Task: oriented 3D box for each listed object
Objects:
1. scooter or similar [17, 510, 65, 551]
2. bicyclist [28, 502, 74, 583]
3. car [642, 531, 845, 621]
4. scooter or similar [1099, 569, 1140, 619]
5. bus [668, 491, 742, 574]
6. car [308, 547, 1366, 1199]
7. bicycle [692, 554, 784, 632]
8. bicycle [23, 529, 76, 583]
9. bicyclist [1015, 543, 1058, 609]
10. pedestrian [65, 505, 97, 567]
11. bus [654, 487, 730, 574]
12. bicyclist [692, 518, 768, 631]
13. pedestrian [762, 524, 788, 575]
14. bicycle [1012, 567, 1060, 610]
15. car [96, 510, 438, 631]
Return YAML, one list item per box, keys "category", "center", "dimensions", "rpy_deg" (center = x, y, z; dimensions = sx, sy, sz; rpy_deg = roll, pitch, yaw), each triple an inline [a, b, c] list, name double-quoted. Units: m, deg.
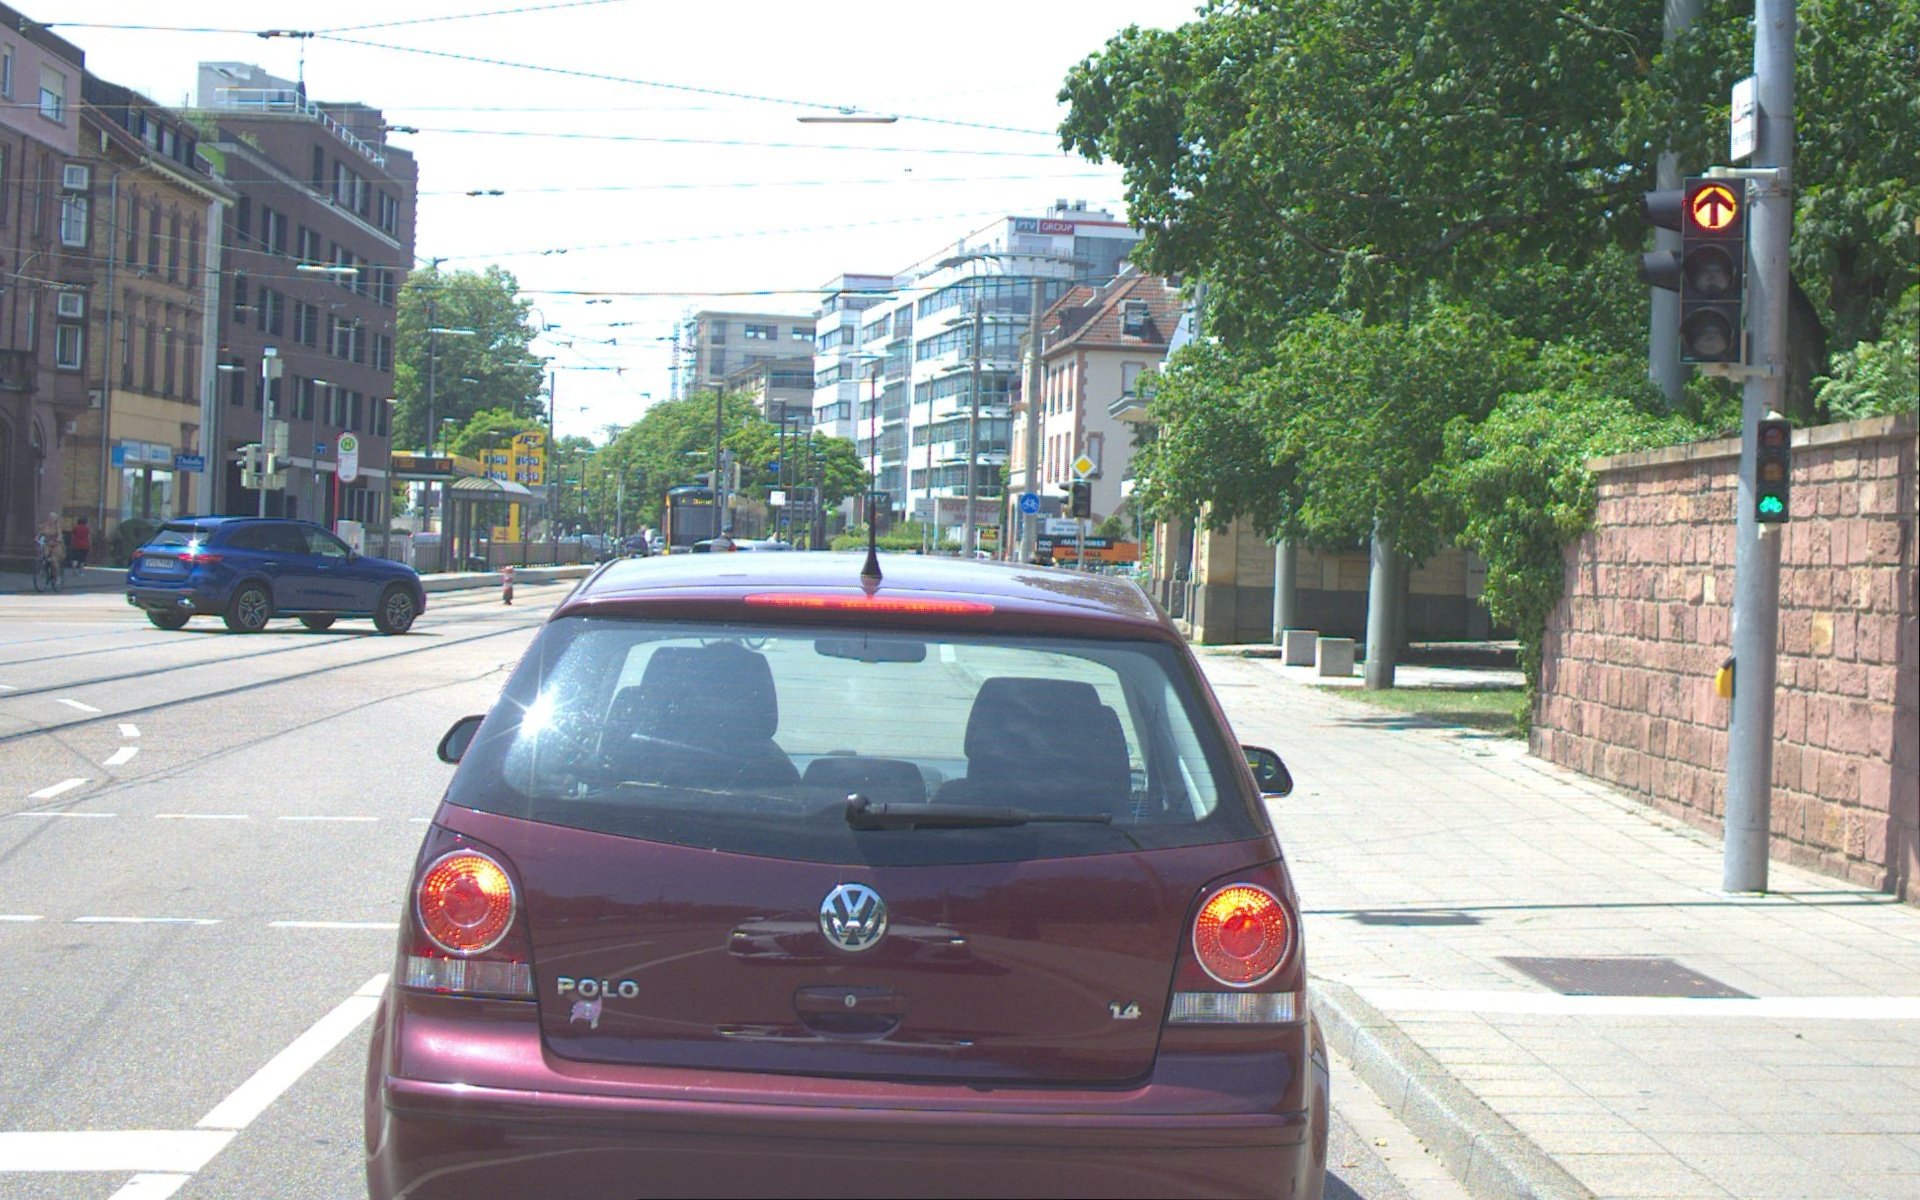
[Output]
- category: "scooter or similar"
  center: [-24.533, -1.850, 91.794]
  dimensions: [0.488, 1.078, 1.576]
  rpy_deg: [2, 1, 16]
- category: "bicyclist"
  center: [-20.344, -1.299, 76.968]
  dimensions: [0.694, 1.759, 1.137]
  rpy_deg: [2, 2, -2]
- category: "car"
  center: [-3.923, -0.423, 62.875]
  dimensions: [1.826, 1.525, 3.994]
  rpy_deg: [3, 1, 28]
- category: "scooter or similar"
  center: [3.891, -0.160, 83.917]
  dimensions: [0.339, 1.174, 1.468]
  rpy_deg: [2, 1, -25]
- category: "bus"
  center: [-9.682, -2.562, 131.177]
  dimensions: [2.233, 2.993, 6.594]
  rpy_deg: [2, 1, 0]
- category: "car"
  center: [-0.238, 0.653, 6.724]
  dimensions: [1.561, 1.448, 3.062]
  rpy_deg: [2, 1, -2]
- category: "bicycle"
  center: [-3.517, -0.111, 54.588]
  dimensions: [0.376, 1.193, 1.901]
  rpy_deg: [3, 1, 32]
- category: "bicycle"
  center: [-20.387, -0.995, 77.014]
  dimensions: [0.694, 1.145, 1.932]
  rpy_deg: [2, 2, -2]
- category: "bicyclist"
  center: [1.915, -0.599, 86.154]
  dimensions: [0.833, 1.612, 0.859]
  rpy_deg: [-1, 2, 18]
- category: "pedestrian"
  center: [-22.383, -1.624, 87.540]
  dimensions: [0.614, 1.555, 0.640]
  rpy_deg: [2, 1, -1]
- category: "bus"
  center: [-9.669, -2.496, 124.602]
  dimensions: [2.145, 2.993, 6.574]
  rpy_deg: [2, 1, 0]
- category: "bicyclist"
  center: [-3.641, -0.406, 54.451]
  dimensions: [0.729, 1.754, 0.922]
  rpy_deg: [3, 1, 35]
- category: "pedestrian"
  center: [-6.171, -1.690, 114.562]
  dimensions: [0.763, 1.669, 1.100]
  rpy_deg: [2, 1, 0]
- category: "bicycle"
  center: [1.901, -0.286, 86.138]
  dimensions: [0.669, 0.999, 1.862]
  rpy_deg: [-1, 3, 18]
- category: "car"
  center: [-10.036, -0.409, 50.084]
  dimensions: [1.998, 1.619, 4.621]
  rpy_deg: [3, 1, 39]
